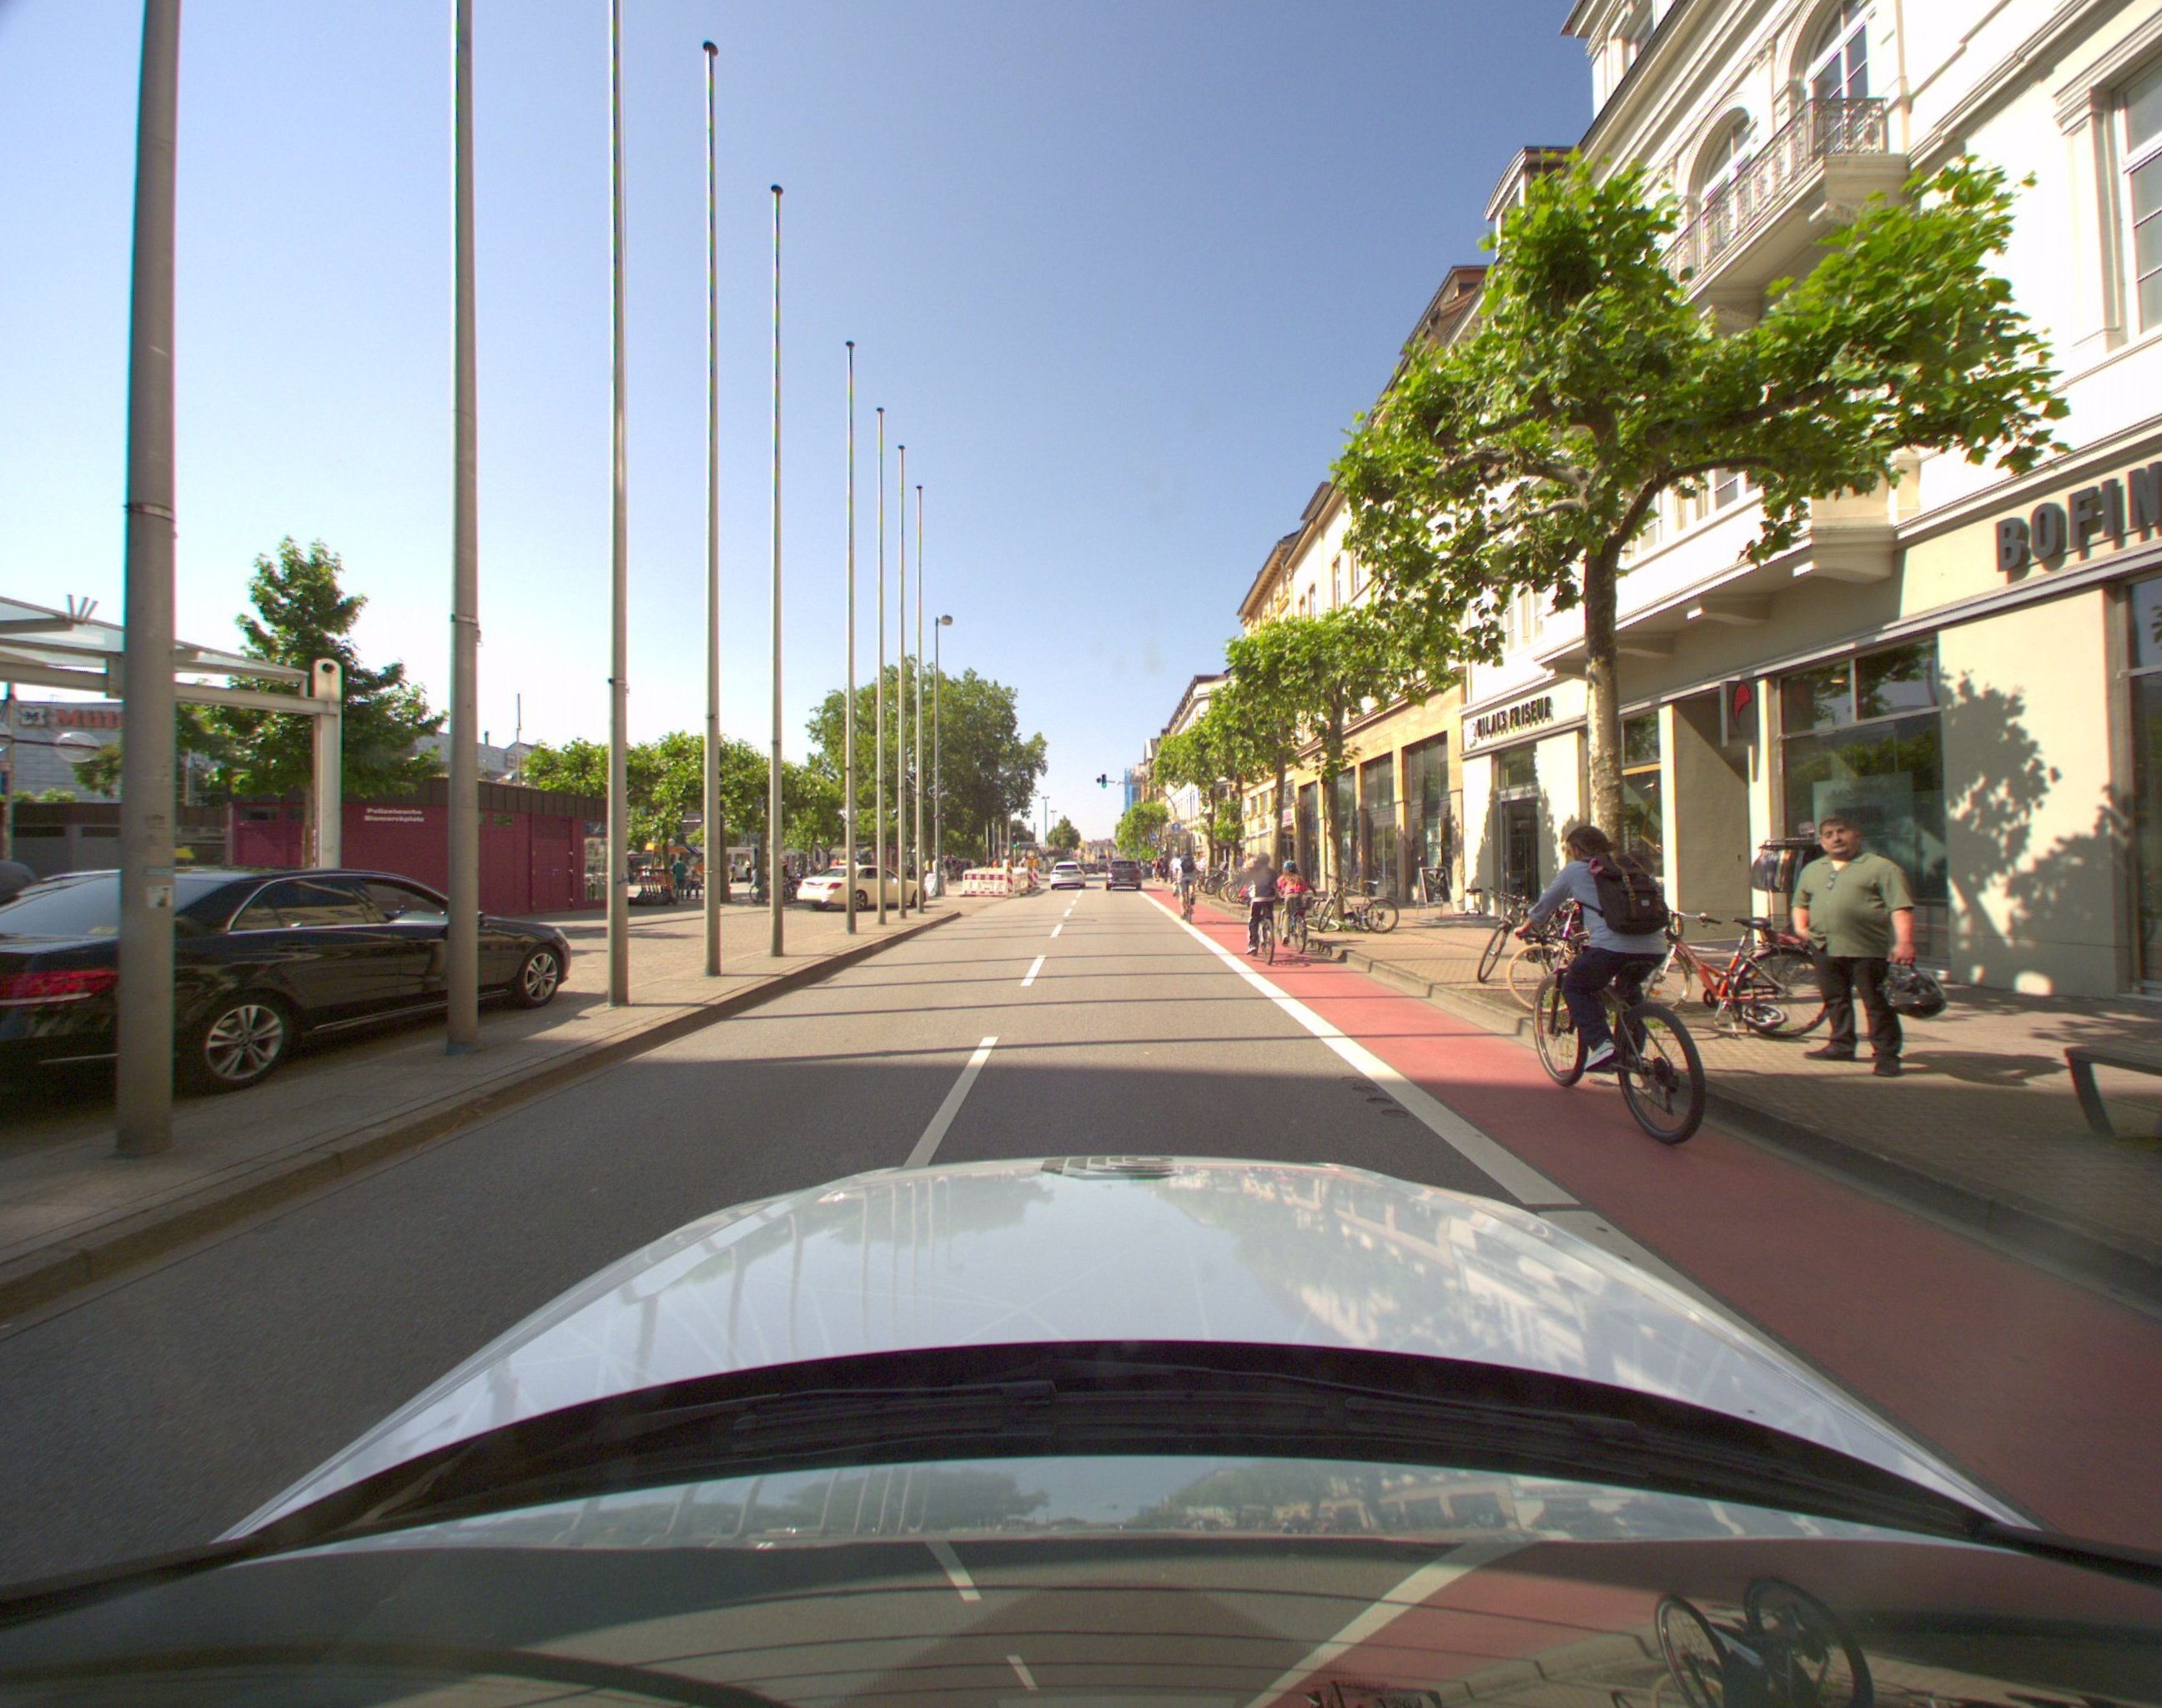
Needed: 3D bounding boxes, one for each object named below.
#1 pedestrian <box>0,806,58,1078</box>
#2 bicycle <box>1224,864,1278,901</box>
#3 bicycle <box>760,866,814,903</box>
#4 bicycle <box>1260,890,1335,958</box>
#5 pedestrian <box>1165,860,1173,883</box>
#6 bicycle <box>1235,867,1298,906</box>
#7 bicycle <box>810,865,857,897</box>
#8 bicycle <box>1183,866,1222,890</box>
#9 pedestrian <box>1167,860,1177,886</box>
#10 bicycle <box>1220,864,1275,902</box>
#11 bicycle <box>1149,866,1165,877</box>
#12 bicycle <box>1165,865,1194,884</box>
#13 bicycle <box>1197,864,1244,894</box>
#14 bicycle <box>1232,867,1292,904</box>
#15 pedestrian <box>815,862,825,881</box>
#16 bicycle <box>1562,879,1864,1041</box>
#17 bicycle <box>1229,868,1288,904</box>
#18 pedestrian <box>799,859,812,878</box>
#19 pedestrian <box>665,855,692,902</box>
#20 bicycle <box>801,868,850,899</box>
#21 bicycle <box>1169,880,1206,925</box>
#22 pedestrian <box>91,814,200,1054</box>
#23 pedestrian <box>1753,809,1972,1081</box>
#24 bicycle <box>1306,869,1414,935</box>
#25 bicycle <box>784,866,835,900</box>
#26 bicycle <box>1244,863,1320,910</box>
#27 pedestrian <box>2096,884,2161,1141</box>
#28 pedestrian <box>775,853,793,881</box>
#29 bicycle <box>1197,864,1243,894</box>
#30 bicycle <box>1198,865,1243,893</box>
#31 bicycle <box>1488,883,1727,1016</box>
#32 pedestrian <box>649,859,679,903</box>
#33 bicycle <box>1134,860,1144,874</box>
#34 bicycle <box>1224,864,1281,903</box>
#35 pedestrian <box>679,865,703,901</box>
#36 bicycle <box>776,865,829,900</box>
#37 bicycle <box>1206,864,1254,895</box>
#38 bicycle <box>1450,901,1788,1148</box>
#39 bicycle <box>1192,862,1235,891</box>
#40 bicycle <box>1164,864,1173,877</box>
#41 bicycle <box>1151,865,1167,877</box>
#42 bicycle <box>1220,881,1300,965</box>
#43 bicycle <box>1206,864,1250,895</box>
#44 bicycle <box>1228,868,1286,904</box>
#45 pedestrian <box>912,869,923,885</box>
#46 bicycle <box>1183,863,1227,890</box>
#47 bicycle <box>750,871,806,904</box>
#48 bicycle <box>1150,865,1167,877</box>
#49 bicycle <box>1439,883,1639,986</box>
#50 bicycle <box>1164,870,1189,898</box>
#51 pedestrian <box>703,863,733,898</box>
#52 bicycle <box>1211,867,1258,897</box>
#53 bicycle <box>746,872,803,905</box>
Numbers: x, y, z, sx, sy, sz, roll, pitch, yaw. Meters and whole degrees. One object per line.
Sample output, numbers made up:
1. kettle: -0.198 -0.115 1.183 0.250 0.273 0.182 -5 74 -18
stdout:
1. pedestrian: -7.461 0.582 5.473 0.612 1.792 0.697 -1 -1 40
2. bicycle: 5.670 0.960 27.246 1.721 1.217 0.478 0 -1 3
3. bicycle: -10.712 1.114 29.717 1.777 1.309 0.562 0 -1 -2
4. bicycle: 3.525 1.113 13.437 0.598 0.926 2.086 1 0 -2
5. pedestrian: 5.858 1.185 54.208 0.520 1.521 0.642 -2 -2 4
6. bicycle: 5.441 0.953 23.985 1.721 1.109 0.737 0 -1 3
7. bicycle: -10.744 1.152 35.348 1.777 1.348 0.740 1 -1 -2
8. bicycle: 5.803 1.148 38.995 1.777 1.122 0.562 -1 -1 -2
9. pedestrian: 5.809 1.234 52.018 0.546 1.631 0.589 -2 -2 4
10. bicycle: 5.474 0.952 26.757 1.721 1.217 0.478 0 -1 3
11. bicycle: 6.789 1.545 72.670 1.415 0.980 0.445 -2 0 1
12. bicycle: 5.899 1.208 48.874 0.604 1.082 1.820 -2 1 -33
13. bicycle: 5.684 1.017 33.197 1.836 1.201 0.545 0 -1 3
14. bicycle: 5.511 0.952 24.837 1.721 1.109 0.403 0 -1 3
15. pedestrian: -17.678 1.178 55.065 0.611 1.262 0.608 0 -1 -21
16. bicycle: 5.020 0.809 6.577 1.829 1.197 0.675 0 -1 8
17. bicycle: 5.496 0.985 25.251 1.721 1.109 0.403 0 -1 3
18. pedestrian: -18.982 0.988 56.142 0.616 1.262 0.604 0 -1 -44
19. pedestrian: -14.585 0.888 29.521 0.670 1.677 0.685 0 -1 -7
20. bicycle: -10.454 1.193 33.324 1.777 1.215 0.662 0 -1 -2
21. bicycle: 2.503 1.118 19.337 0.628 0.980 2.088 0 -1 0
22. pedestrian: -7.402 0.596 6.451 0.526 1.792 0.542 -1 -1 40
23. pedestrian: 5.265 0.571 5.544 0.637 1.689 0.843 2 0 -1
24. bicycle: 5.256 0.889 15.405 1.831 1.186 0.671 1 -1 6
25. bicycle: -10.645 1.122 31.938 1.777 1.309 0.662 0 -1 -2
26. bicycle: 5.541 0.891 22.503 1.923 1.248 0.737 0 -1 3
27. pedestrian: 5.634 0.769 3.911 0.785 1.243 0.576 0 -2 -2
28. pedestrian: -18.612 0.827 51.073 0.598 1.749 0.809 -1 -2 32
29. bicycle: 5.732 1.028 33.702 1.836 1.201 0.609 0 -1 3
30. bicycle: 5.865 1.058 34.331 1.836 1.164 0.659 0 -1 3
31. bicycle: 4.879 0.862 7.644 1.828 1.127 0.499 1 -1 12
32. pedestrian: -15.308 0.971 29.920 0.804 1.606 0.670 0 -1 -12
33. bicycle: 4.413 0.974 61.643 0.645 0.998 2.031 0 -1 1
34. bicycle: 5.465 0.934 26.032 1.721 1.217 0.478 0 -1 3
35. pedestrian: -14.450 1.070 30.205 0.672 1.309 0.683 0 -1 -16
36. bicycle: -10.598 1.079 31.005 1.777 1.309 0.662 0 -1 -2
37. bicycle: 5.902 1.009 32.388 1.836 1.201 0.475 0 -1 3
38. bicycle: 3.161 0.912 5.103 0.696 1.127 2.079 1 -1 -2
39. bicycle: 6.098 1.033 37.515 1.826 1.309 0.684 0 -1 -19
40. bicycle: 7.776 1.440 72.070 0.396 1.114 1.433 -2 0 22
41. bicycle: 7.126 1.562 74.511 1.415 0.980 0.401 -2 0 1
42. bicycle: 2.691 1.001 12.453 0.696 1.127 2.079 1 -1 -2
43. bicycle: 5.765 1.004 31.977 1.642 1.201 0.475 0 -1 3
44. bicycle: 5.541 1.005 25.669 1.721 1.109 0.478 0 -1 3
45. pedestrian: -13.279 1.859 66.104 0.627 1.293 0.735 -1 -2 22
46. bicycle: 5.805 1.048 38.116 1.938 1.257 0.701 0 -1 -19
47. bicycle: -10.836 1.200 29.146 1.777 1.132 0.562 0 -1 -2
48. bicycle: 6.951 1.547 73.129 1.415 0.980 0.445 -2 0 1
49. bicycle: 5.169 0.888 9.296 1.830 1.097 0.795 0 -1 6
50. bicycle: 3.706 1.167 31.832 0.771 1.006 2.330 -1 0 1
51. pedestrian: -14.530 1.064 32.615 0.667 1.381 0.899 0 -1 10
52. bicycle: 5.737 1.044 30.453 1.642 1.095 0.607 0 -1 3
53. bicycle: -10.698 1.191 28.456 1.777 1.105 0.562 0 -1 -2
